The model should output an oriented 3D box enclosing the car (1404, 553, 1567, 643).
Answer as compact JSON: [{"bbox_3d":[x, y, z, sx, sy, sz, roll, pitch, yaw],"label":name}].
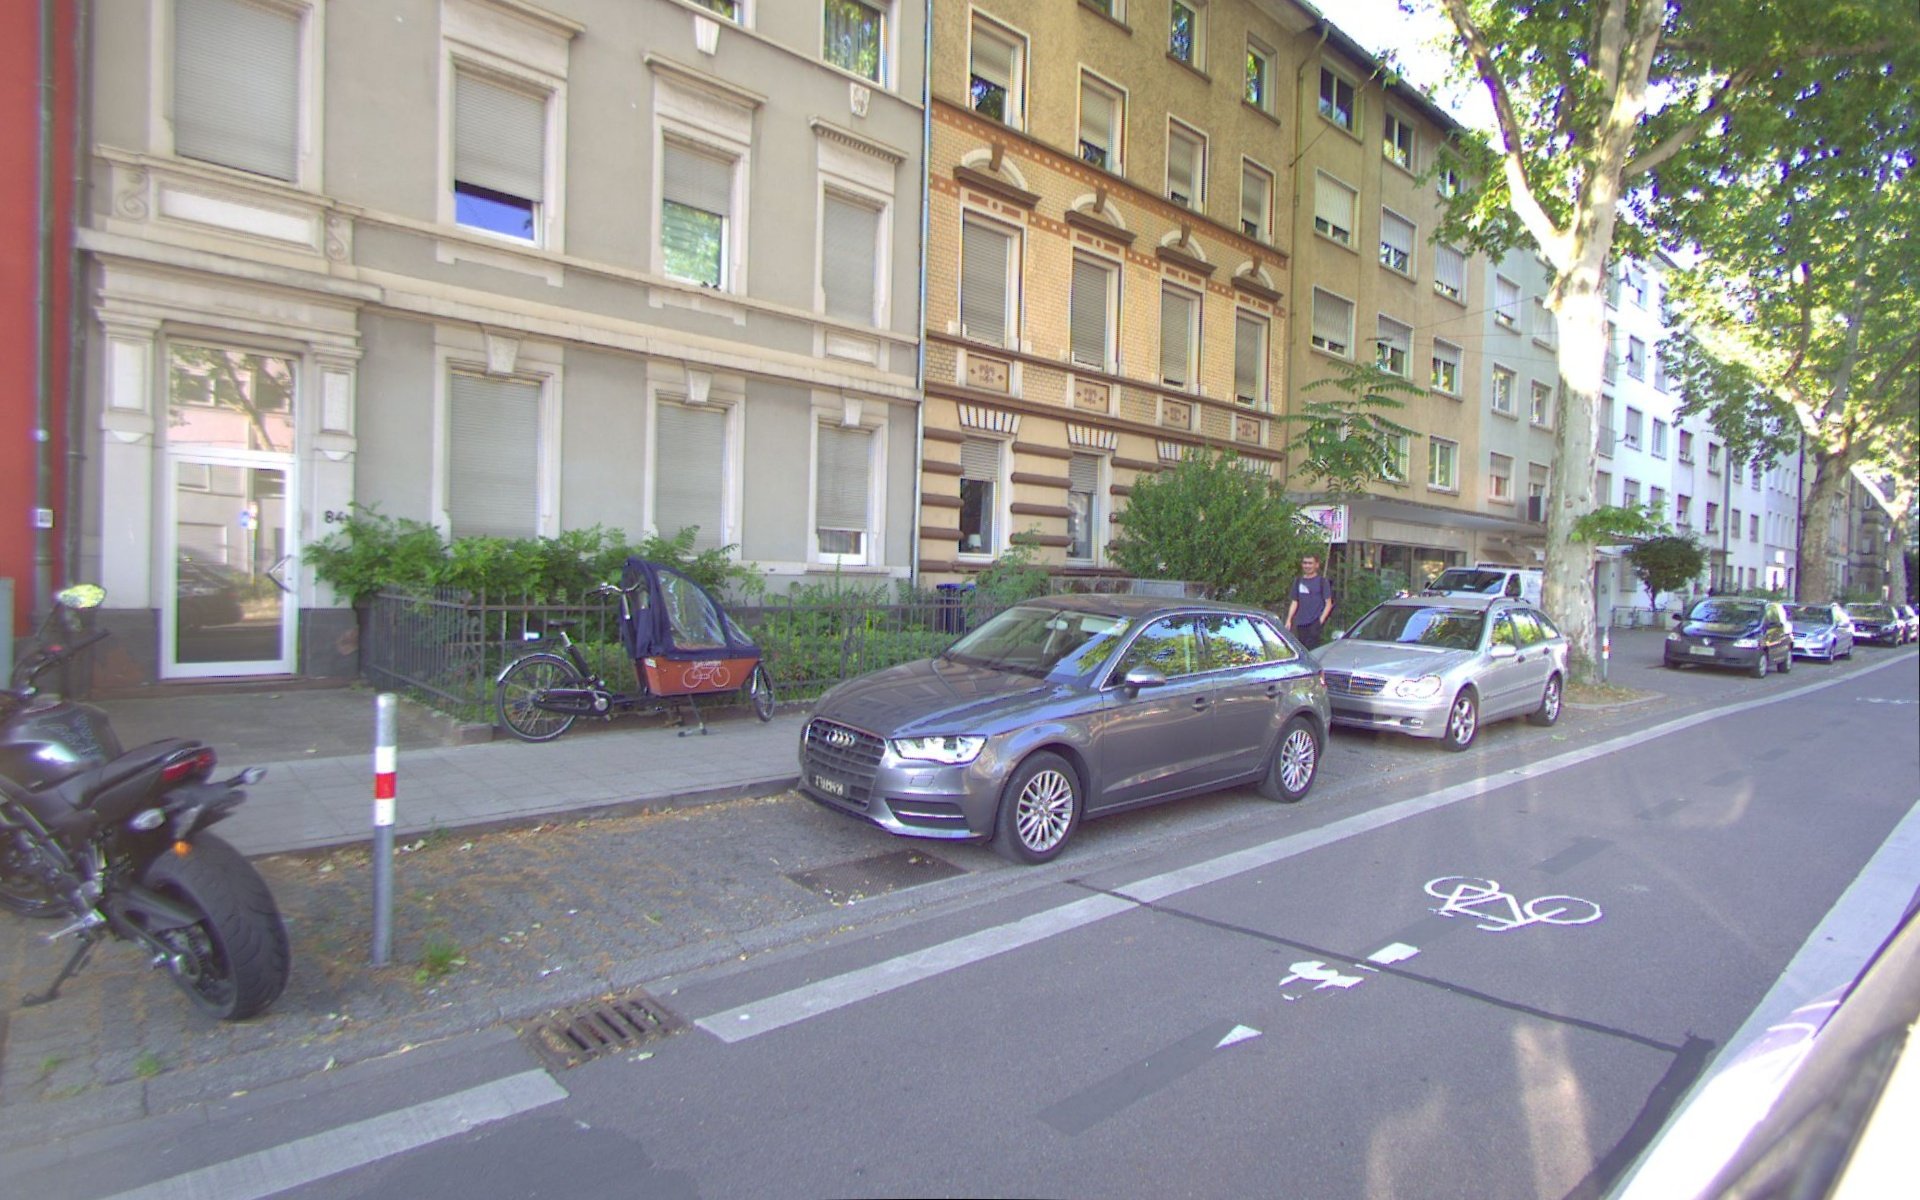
[{"bbox_3d":[12.787,-0.077,24.490,4.597,1.897,1.932,0,4,-42],"label":"car"}]

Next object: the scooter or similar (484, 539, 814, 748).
[{"bbox_3d":[-2.443,0.294,8.247,2.500,1.488,0.666,0,2,-41],"label":"scooter or similar"}]

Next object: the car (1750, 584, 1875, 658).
[{"bbox_3d":[21.808,0.471,25.829,4.295,1.628,1.802,0,4,-42],"label":"car"}]

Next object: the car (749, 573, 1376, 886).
[{"bbox_3d":[0.920,0.604,6.967,4.293,1.418,1.802,0,4,-41],"label":"car"}]

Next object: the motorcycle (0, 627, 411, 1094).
[{"bbox_3d":[-3.029,0.756,3.577,2.188,1.124,0.659,4,2,23],"label":"motorcycle"}]

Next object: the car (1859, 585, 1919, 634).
[{"bbox_3d":[35.271,0.330,37.927,4.295,1.628,1.802,0,4,-42],"label":"car"}]

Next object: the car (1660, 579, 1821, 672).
[{"bbox_3d":[16.147,0.451,20.856,4.295,1.628,1.802,0,4,-42],"label":"car"}]

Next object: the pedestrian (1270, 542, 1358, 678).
[{"bbox_3d":[4.752,0.116,13.594,0.802,1.731,0.728,-1,4,-41],"label":"pedestrian"}]

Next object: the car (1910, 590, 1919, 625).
[{"bbox_3d":[46.704,0.410,48.129,4.034,1.628,1.802,0,4,-42],"label":"car"}]

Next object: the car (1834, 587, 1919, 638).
[{"bbox_3d":[31.493,0.373,34.653,4.295,1.520,1.802,0,4,-42],"label":"car"}]

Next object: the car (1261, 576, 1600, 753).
[{"bbox_3d":[5.320,0.546,11.144,4.436,1.472,1.801,0,4,-43],"label":"car"}]
